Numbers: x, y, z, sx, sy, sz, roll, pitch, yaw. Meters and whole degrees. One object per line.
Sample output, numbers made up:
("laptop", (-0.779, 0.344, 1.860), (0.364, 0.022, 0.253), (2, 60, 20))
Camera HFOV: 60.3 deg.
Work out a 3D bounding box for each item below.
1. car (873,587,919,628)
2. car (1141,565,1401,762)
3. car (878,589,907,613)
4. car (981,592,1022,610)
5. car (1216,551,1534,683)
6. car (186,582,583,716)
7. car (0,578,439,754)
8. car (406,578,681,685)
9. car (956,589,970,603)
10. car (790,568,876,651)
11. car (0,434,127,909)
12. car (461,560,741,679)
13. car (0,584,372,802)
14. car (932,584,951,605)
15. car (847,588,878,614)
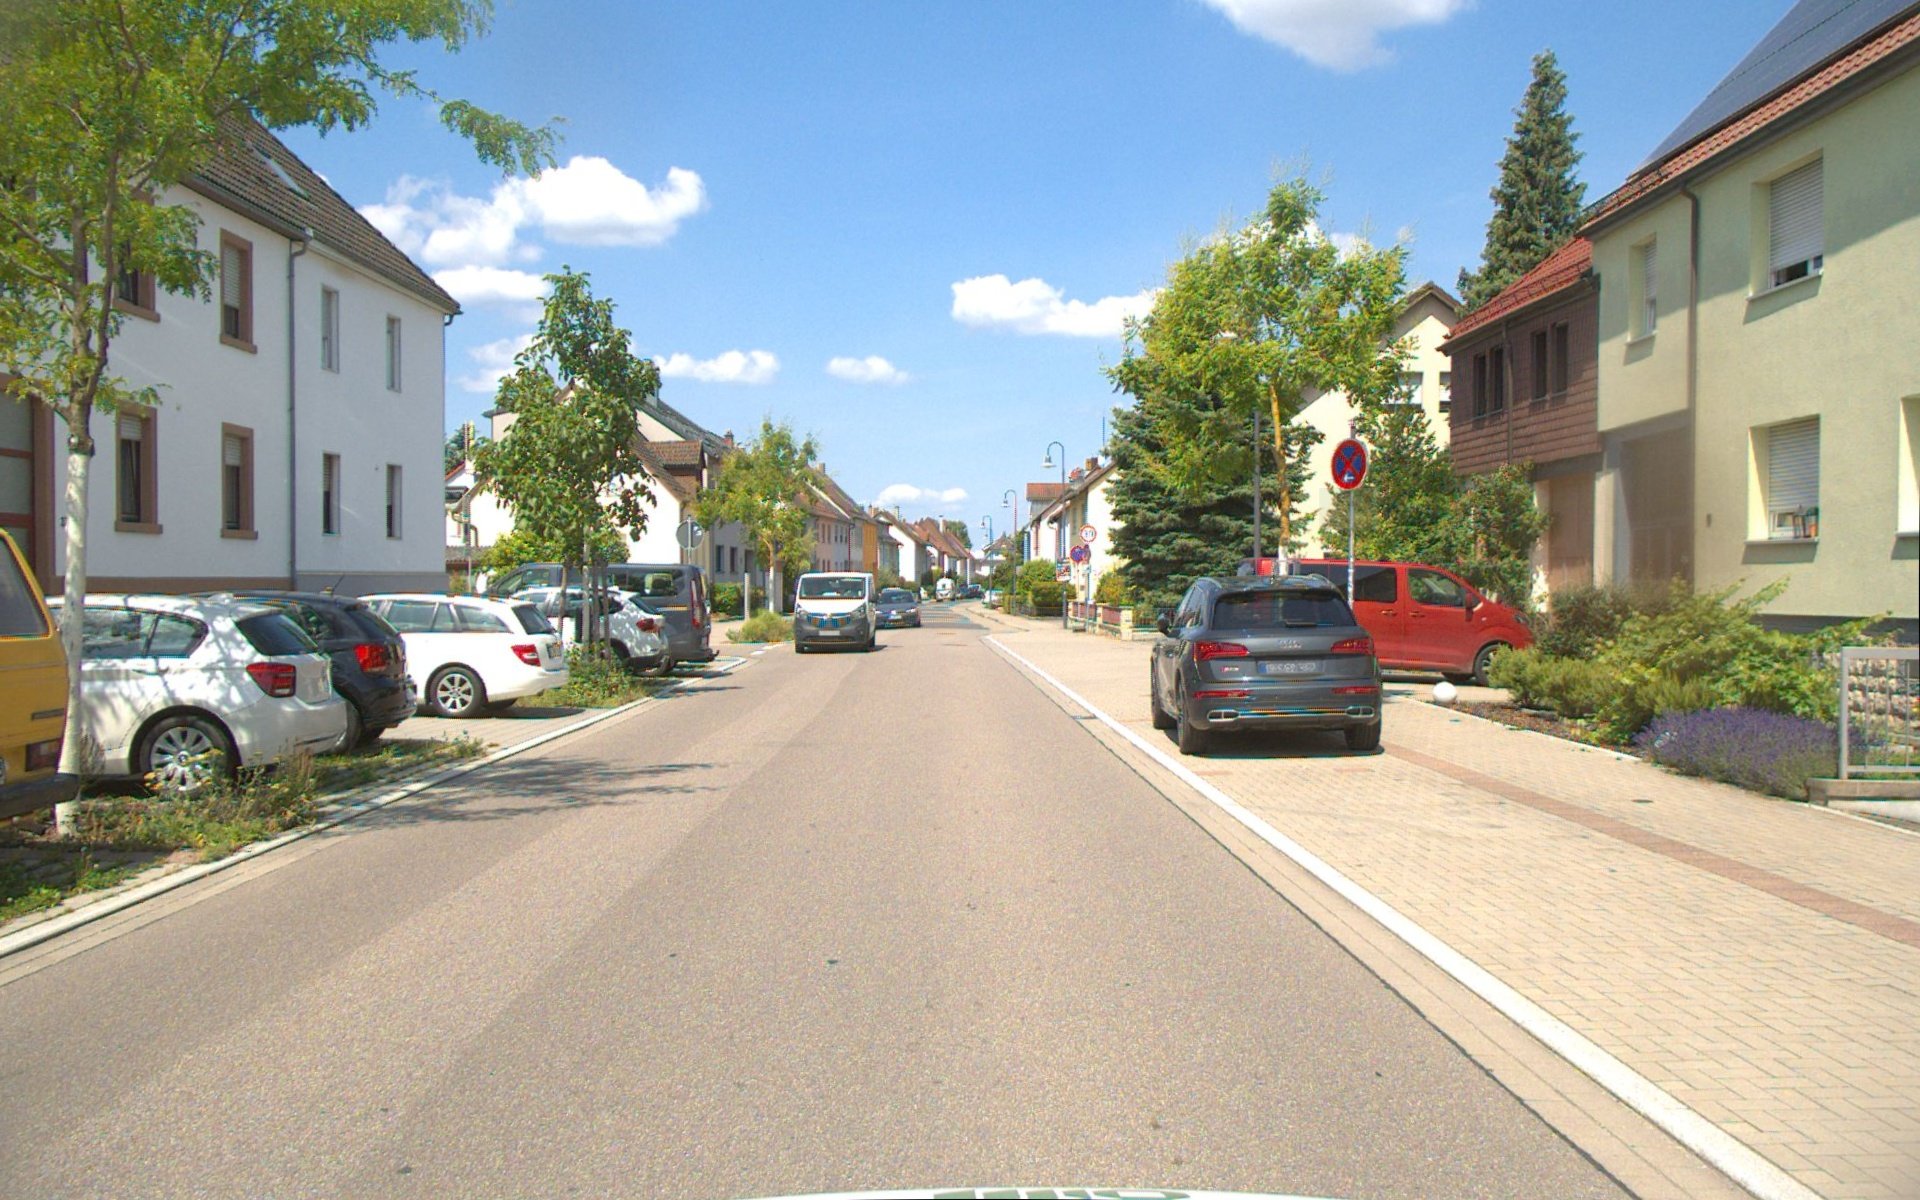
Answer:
("car", (-2.551, 0.278, 66.007), (1.727, 1.549, 4.047), (-2, 0, -2))
("car", (2.972, 0.525, 16.736), (1.826, 1.664, 4.447), (-2, 1, 1))
("car", (-5.056, 0.057, 123.997), (1.811, 1.688, 4.001), (2, 0, 2))
("car", (3.500, 0.087, 140.007), (3.452, 1.490, 1.628), (2, -1, -1))
("car", (6.551, 0.277, 26.429), (4.526, 1.927, 2.019), (1, -1, -3))
("car", (-6.973, 0.585, 20.339), (4.206, 1.493, 1.774), (1, -1, 0))
("car", (-6.918, 0.590, 15.208), (3.808, 1.493, 1.655), (1, -1, -10))
("car", (-6.766, 0.509, 27.214), (4.101, 1.596, 1.772), (2, -1, -5))
("car", (0.367, -0.537, 223.488), (1.656, 1.689, 3.772), (2, 0, 3))
("car", (-3.175, 0.231, 42.133), (1.982, 1.984, 4.896), (0, 0, -2))
("car", (-6.679, 0.291, 7.841), (4.417, 2.215, 1.925), (1, 0, -1))
("car", (-6.424, 0.349, 30.017), (4.605, 1.957, 1.937), (2, -1, -2))
("car", (-6.667, 0.646, 12.337), (3.997, 1.493, 1.750), (1, 0, -10))
("car", (-2.183, -0.687, 193.883), (2.002, 2.352, 3.772), (2, -1, 3))
("car", (-6.514, 0.055, 110.815), (1.774, 1.637, 3.999), (2, 0, -1))
